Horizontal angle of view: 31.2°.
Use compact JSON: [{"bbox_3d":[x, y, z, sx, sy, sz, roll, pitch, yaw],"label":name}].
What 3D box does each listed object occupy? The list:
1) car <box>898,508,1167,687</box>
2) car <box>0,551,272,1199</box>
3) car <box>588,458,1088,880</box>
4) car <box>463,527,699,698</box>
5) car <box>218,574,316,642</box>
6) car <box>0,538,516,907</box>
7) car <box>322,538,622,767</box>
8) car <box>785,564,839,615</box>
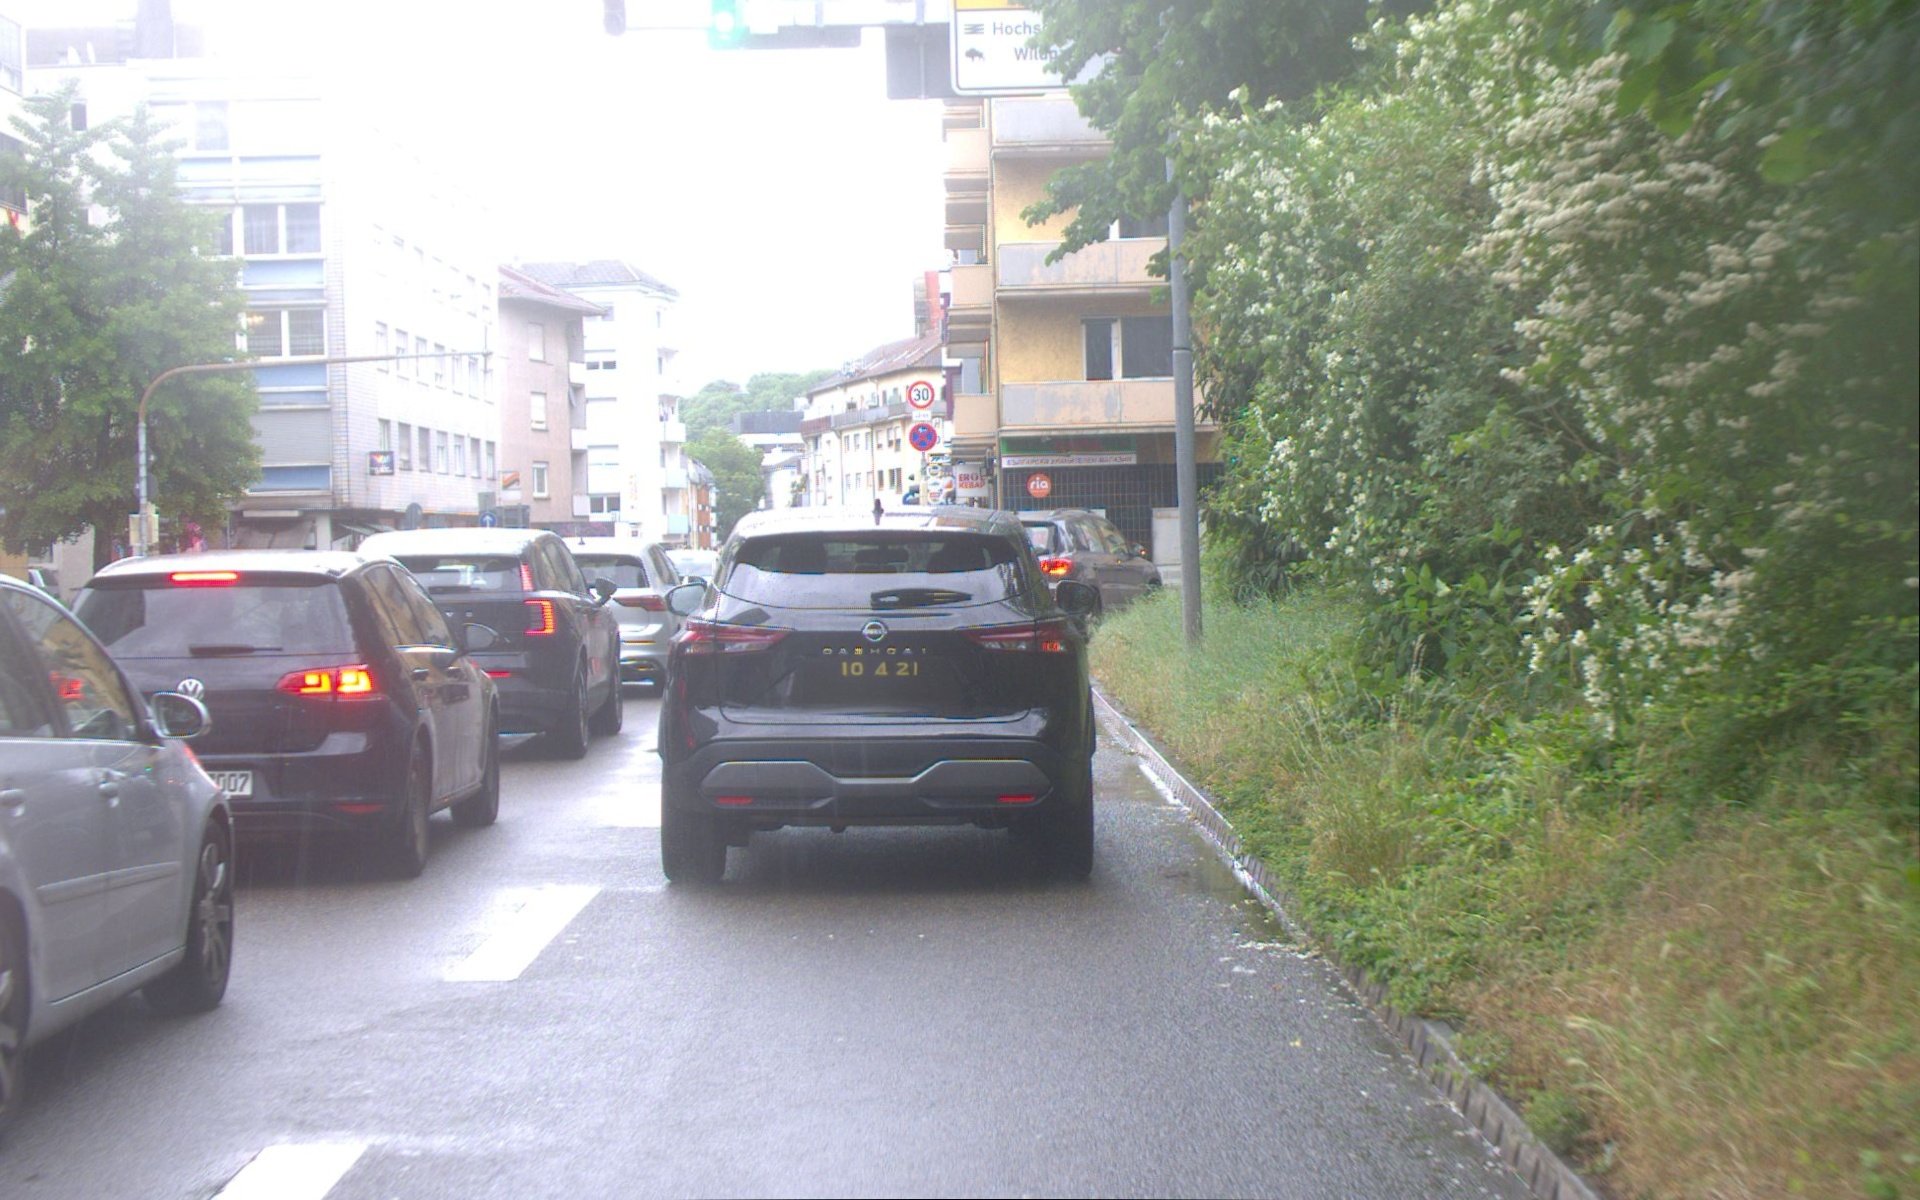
[{"bbox_3d":[0.940,-0.069,41.657,1.995,2.007,3.996,-1,1,21],"label":"car"},{"bbox_3d":[-3.143,0.649,9.326,1.744,1.482,4.162,-2,1,-1],"label":"car"},{"bbox_3d":[-0.544,0.227,15.530,1.959,1.647,4.001,0,1,-2],"label":"car"},{"bbox_3d":[-3.482,0.068,32.214,1.767,1.439,4.000,-2,1,-1],"label":"car"},{"bbox_3d":[-16.571,0.168,82.318,1.672,1.473,3.608,-3,1,-2],"label":"car"},{"bbox_3d":[-3.217,0.469,16.166,1.755,1.448,4.000,-2,1,-1],"label":"car"},{"bbox_3d":[-3.303,0.299,23.882,1.613,1.415,3.967,-1,1,-2],"label":"car"},{"bbox_3d":[-6.303,-0.454,146.793,1.993,2.007,4.000,-3,1,1],"label":"car"}]
